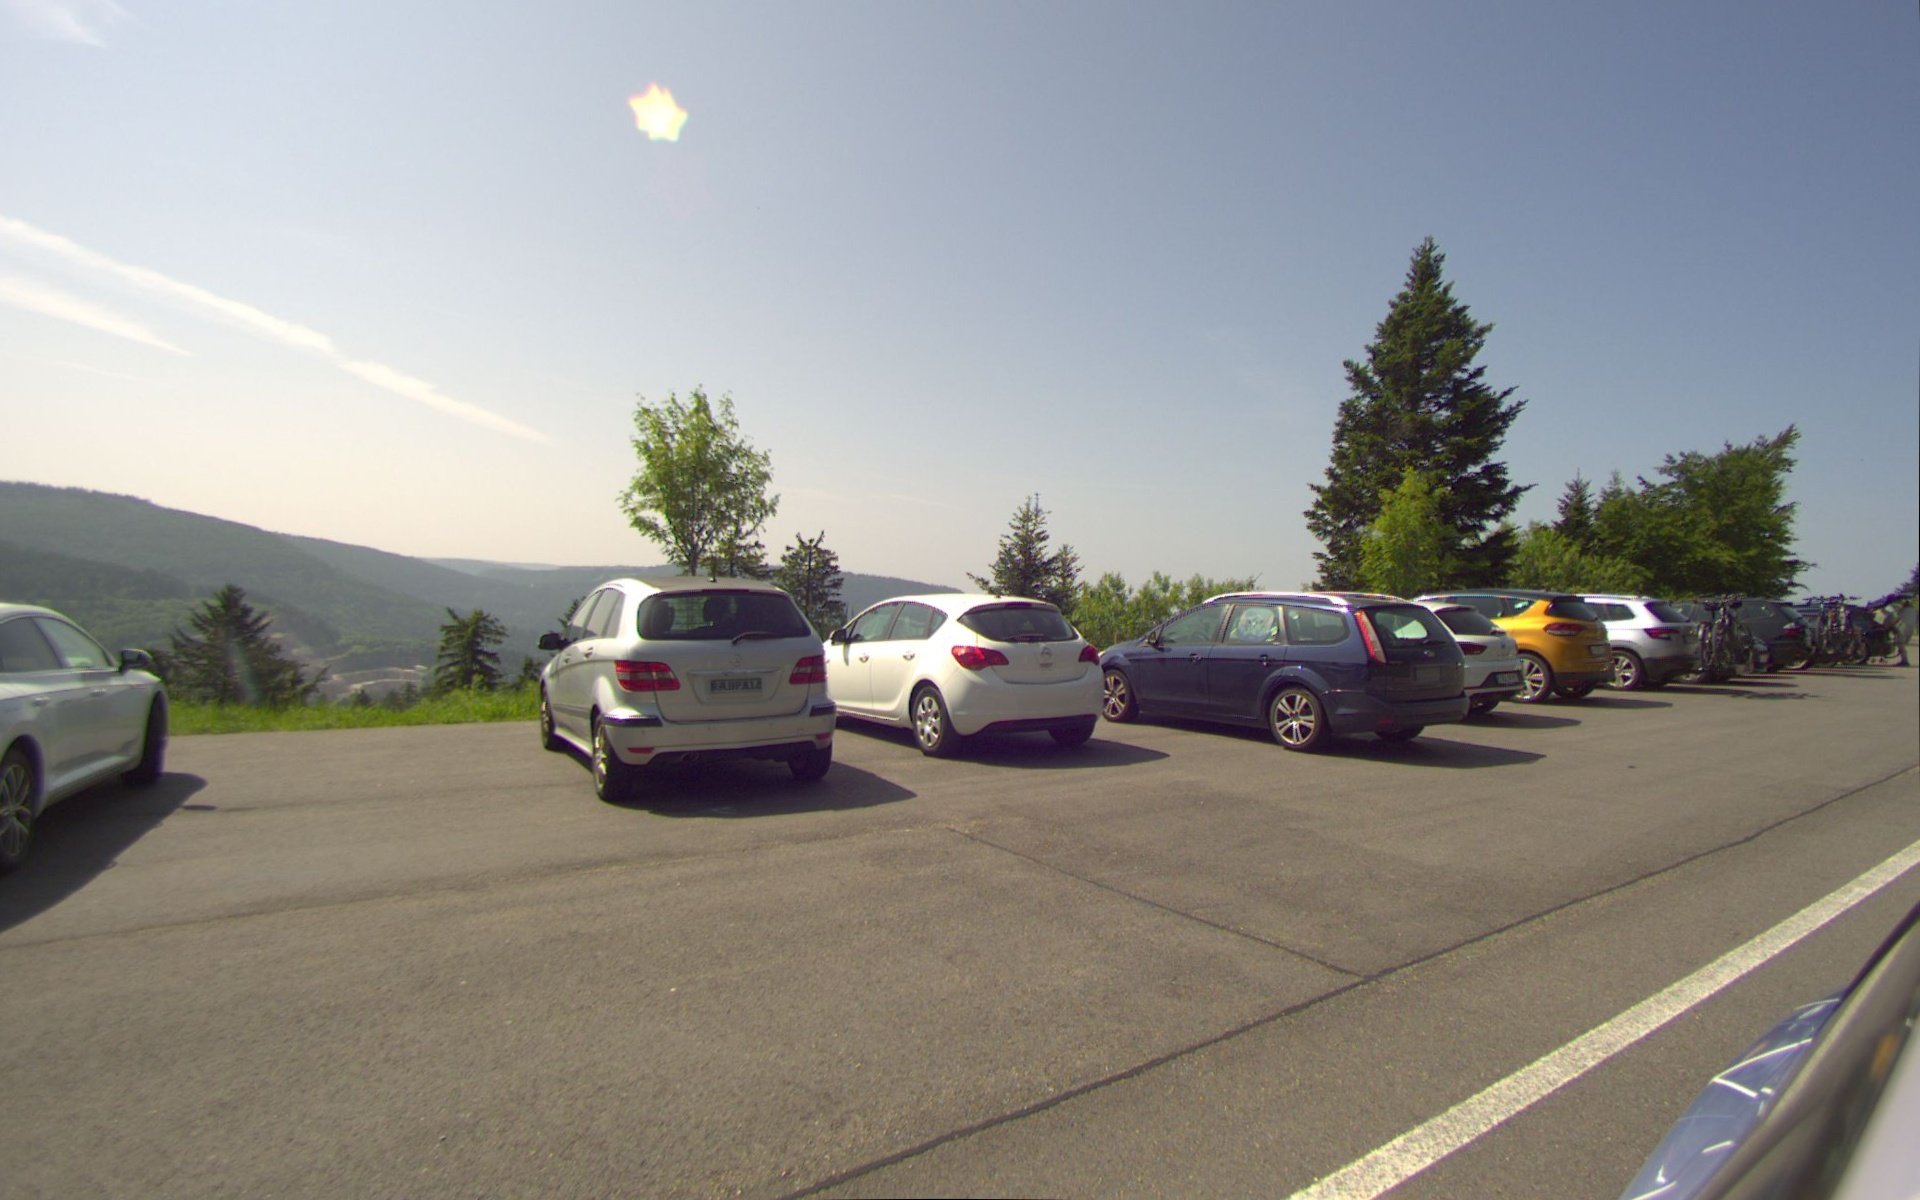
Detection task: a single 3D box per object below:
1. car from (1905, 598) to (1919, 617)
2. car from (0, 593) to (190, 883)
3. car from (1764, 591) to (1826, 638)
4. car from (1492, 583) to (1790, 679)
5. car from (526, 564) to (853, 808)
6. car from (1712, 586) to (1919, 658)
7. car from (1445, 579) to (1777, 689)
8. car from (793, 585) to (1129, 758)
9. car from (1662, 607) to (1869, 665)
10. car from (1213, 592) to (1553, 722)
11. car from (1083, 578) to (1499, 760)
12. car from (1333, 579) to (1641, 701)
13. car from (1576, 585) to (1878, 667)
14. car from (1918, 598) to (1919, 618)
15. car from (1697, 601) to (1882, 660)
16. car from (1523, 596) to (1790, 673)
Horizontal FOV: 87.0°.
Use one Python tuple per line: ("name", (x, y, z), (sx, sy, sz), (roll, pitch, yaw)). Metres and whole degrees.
("car", (100.678, 0.794, 106.136), (1.944, 2.006, 4.012), (2, 1, 40))
("car", (-6.121, 0.667, 5.959), (1.683, 1.414, 4.445), (0, 0, -26))
("car", (34.912, 0.556, 42.262), (1.860, 1.864, 3.825), (1, 1, 42))
("car", (12.920, 0.572, 19.464), (1.721, 1.639, 4.427), (1, -2, -39))
("car", (-2.558, 0.556, 8.801), (1.731, 1.594, 4.003), (0, 0, -31))
("car", (24.039, 0.553, 28.449), (1.964, 1.845, 4.322), (1, 0, -40))
("car", (11.132, 0.529, 17.589), (1.977, 1.647, 4.484), (1, -1, -40))
("car", (-0.204, 0.602, 10.622), (1.731, 1.438, 4.003), (0, 0, -31))
("car", (19.439, 0.823, 24.534), (1.536, 1.285, 3.706), (2, -1, -40))
("car", (5.421, 0.661, 13.421), (1.584, 1.438, 3.894), (-1, 0, -36))
("car", (3.299, 0.583, 10.895), (1.639, 1.563, 4.145), (1, 0, -33))
("car", (7.999, 0.574, 15.676), (1.678, 1.636, 3.886), (1, -2, -37))
("car", (17.164, 0.616, 22.930), (1.964, 1.641, 5.111), (1, -2, -39))
("car", (98.088, 0.832, 102.075), (1.992, 2.039, 3.940), (1, 1, 42))
("car", (21.857, 0.747, 26.745), (3.674, 1.368, 1.711), (1, 1, 44))
("car", (14.504, 0.695, 21.319), (1.658, 1.450, 4.324), (1, -2, -36))
